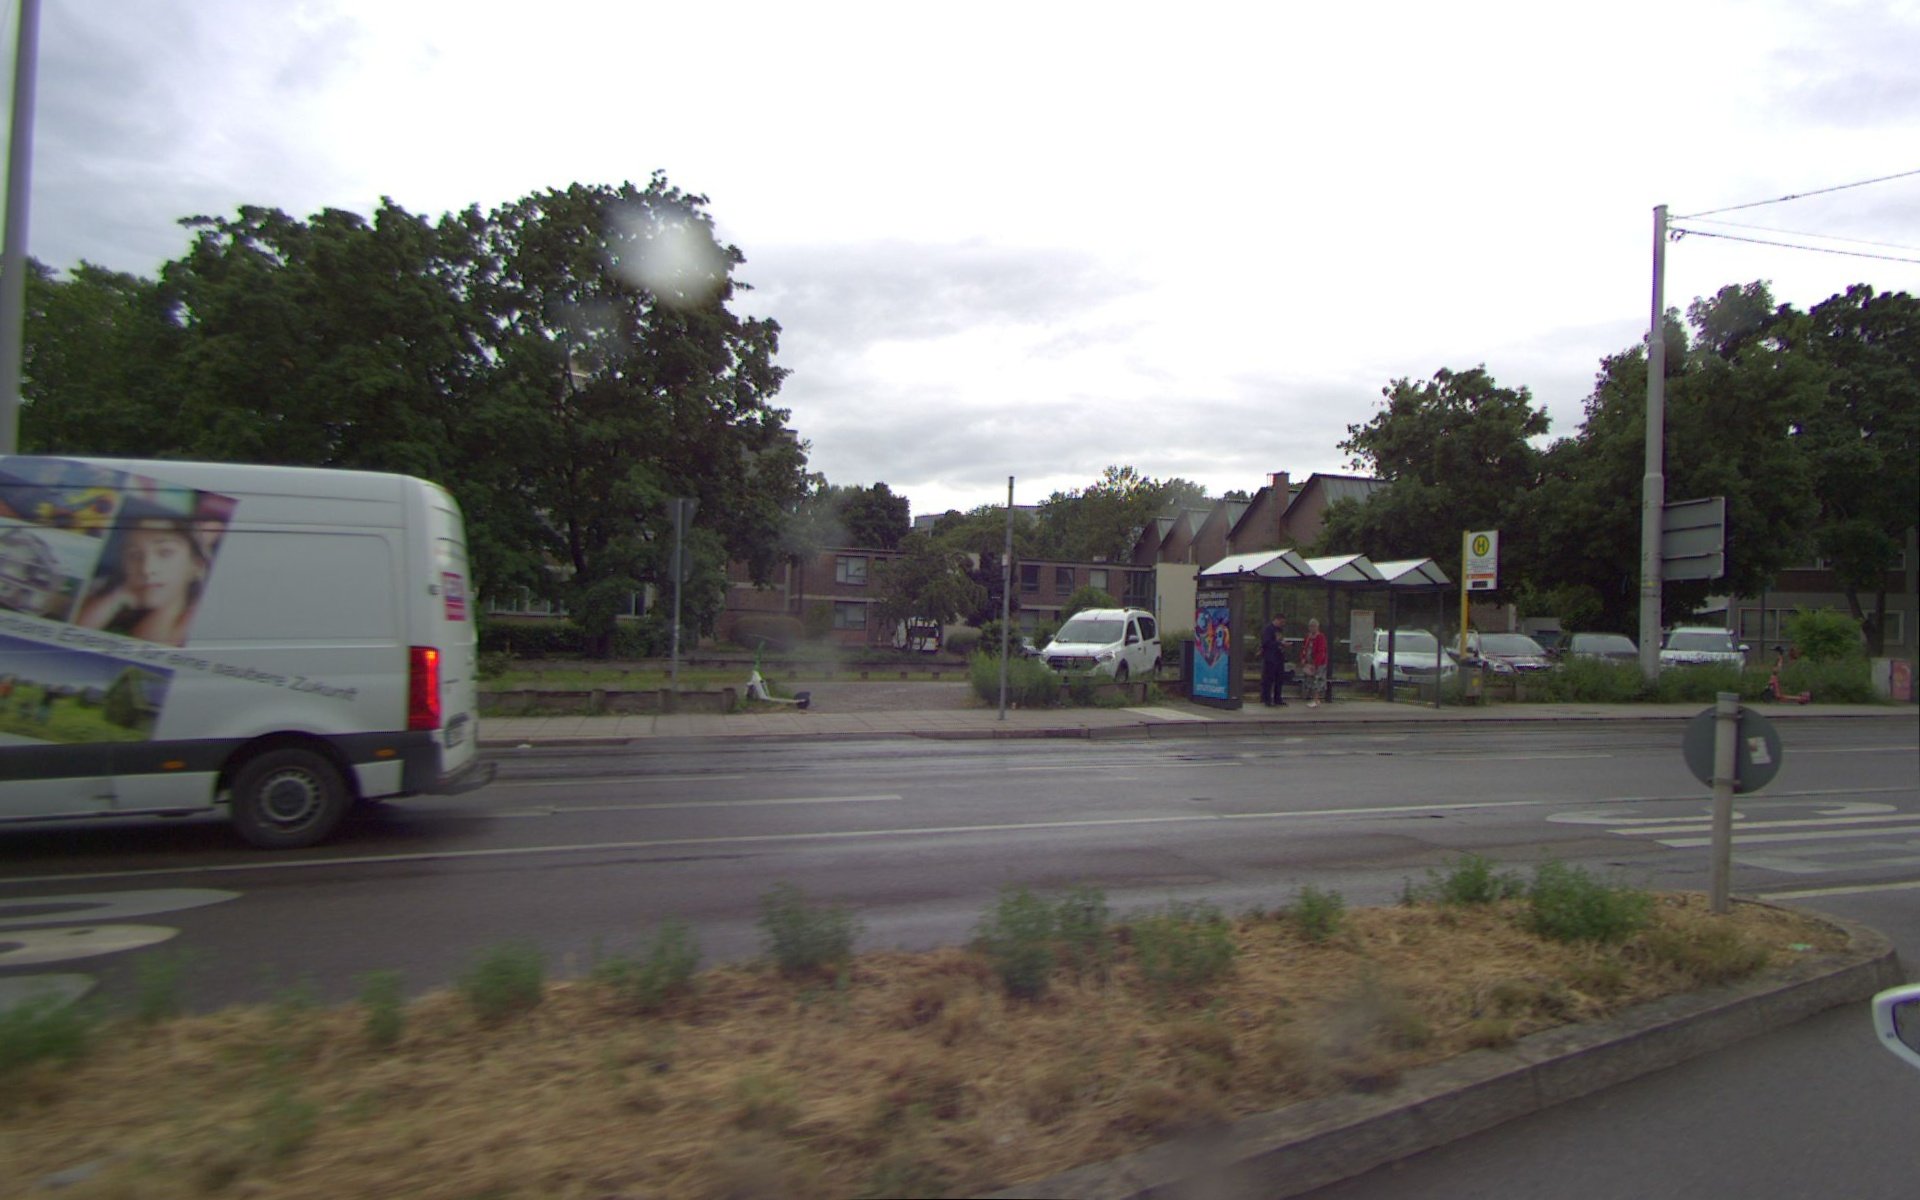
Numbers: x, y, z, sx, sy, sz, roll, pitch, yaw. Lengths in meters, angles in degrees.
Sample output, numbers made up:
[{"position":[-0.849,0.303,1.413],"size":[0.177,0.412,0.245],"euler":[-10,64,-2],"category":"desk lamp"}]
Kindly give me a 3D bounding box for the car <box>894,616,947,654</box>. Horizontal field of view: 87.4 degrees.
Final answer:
[{"position":[-2.509,2.127,62.118],"size":[2.250,2.207,5.063],"euler":[1,0,-15],"category":"car"}]

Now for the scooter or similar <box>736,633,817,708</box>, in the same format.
[{"position":[-3.090,1.166,16.928],"size":[1.229,1.183,0.552],"euler":[1,0,22],"category":"scooter or similar"}]

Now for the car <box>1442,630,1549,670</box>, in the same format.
[{"position":[40.197,3.727,75.513],"size":[6.357,2.855,3.588],"euler":[1,0,-15],"category":"car"}]

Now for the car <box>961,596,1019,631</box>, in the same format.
[{"position":[1.822,0.807,62.440],"size":[2.250,2.049,5.063],"euler":[1,0,-15],"category":"car"}]

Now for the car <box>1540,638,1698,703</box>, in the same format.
[{"position":[15.556,1.617,23.925],"size":[1.797,1.236,3.501],"euler":[2,0,8],"category":"car"}]

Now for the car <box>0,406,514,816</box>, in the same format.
[{"position":[-6.531,0.096,7.068],"size":[5.944,2.527,2.057],"euler":[2,-3,-19],"category":"car"}]

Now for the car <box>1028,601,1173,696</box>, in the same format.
[{"position":[3.144,1.018,21.571],"size":[1.799,1.791,4.503],"euler":[1,-2,25],"category":"car"}]

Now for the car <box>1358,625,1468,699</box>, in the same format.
[{"position":[10.257,1.349,23.031],"size":[1.797,1.434,4.001],"euler":[1,0,17],"category":"car"}]

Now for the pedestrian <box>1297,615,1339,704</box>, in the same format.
[{"position":[6.701,1.103,18.788],"size":[0.603,1.616,0.507],"euler":[1,0,38],"category":"pedestrian"}]

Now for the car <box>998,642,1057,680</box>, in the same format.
[{"position":[4.216,3.815,63.321],"size":[2.249,2.102,5.064],"euler":[1,0,-14],"category":"car"}]

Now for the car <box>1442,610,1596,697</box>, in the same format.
[{"position":[12.804,1.155,23.315],"size":[1.796,1.792,4.002],"euler":[1,0,8],"category":"car"}]

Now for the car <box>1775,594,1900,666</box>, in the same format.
[{"position":[23.778,0.839,27.169],"size":[4.039,1.765,1.834],"euler":[3,-3,-38],"category":"car"}]

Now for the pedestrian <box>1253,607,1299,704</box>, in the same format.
[{"position":[5.857,1.013,18.628],"size":[0.657,1.768,0.455],"euler":[1,0,-27],"category":"pedestrian"}]

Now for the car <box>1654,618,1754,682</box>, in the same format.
[{"position":[19.031,1.223,25.832],"size":[1.823,1.461,4.064],"euler":[0,-1,34],"category":"car"}]

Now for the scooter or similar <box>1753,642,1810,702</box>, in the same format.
[{"position":[18.045,1.572,22.057],"size":[0.960,1.283,0.458],"euler":[1,0,-12],"category":"scooter or similar"}]

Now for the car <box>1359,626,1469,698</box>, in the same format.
[{"position":[10.298,1.388,23.047],"size":[1.817,1.461,4.077],"euler":[1,-2,18],"category":"car"}]

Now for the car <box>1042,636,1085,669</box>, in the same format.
[{"position":[7.076,3.571,69.088],"size":[1.963,2.040,3.994],"euler":[1,0,-8],"category":"car"}]
